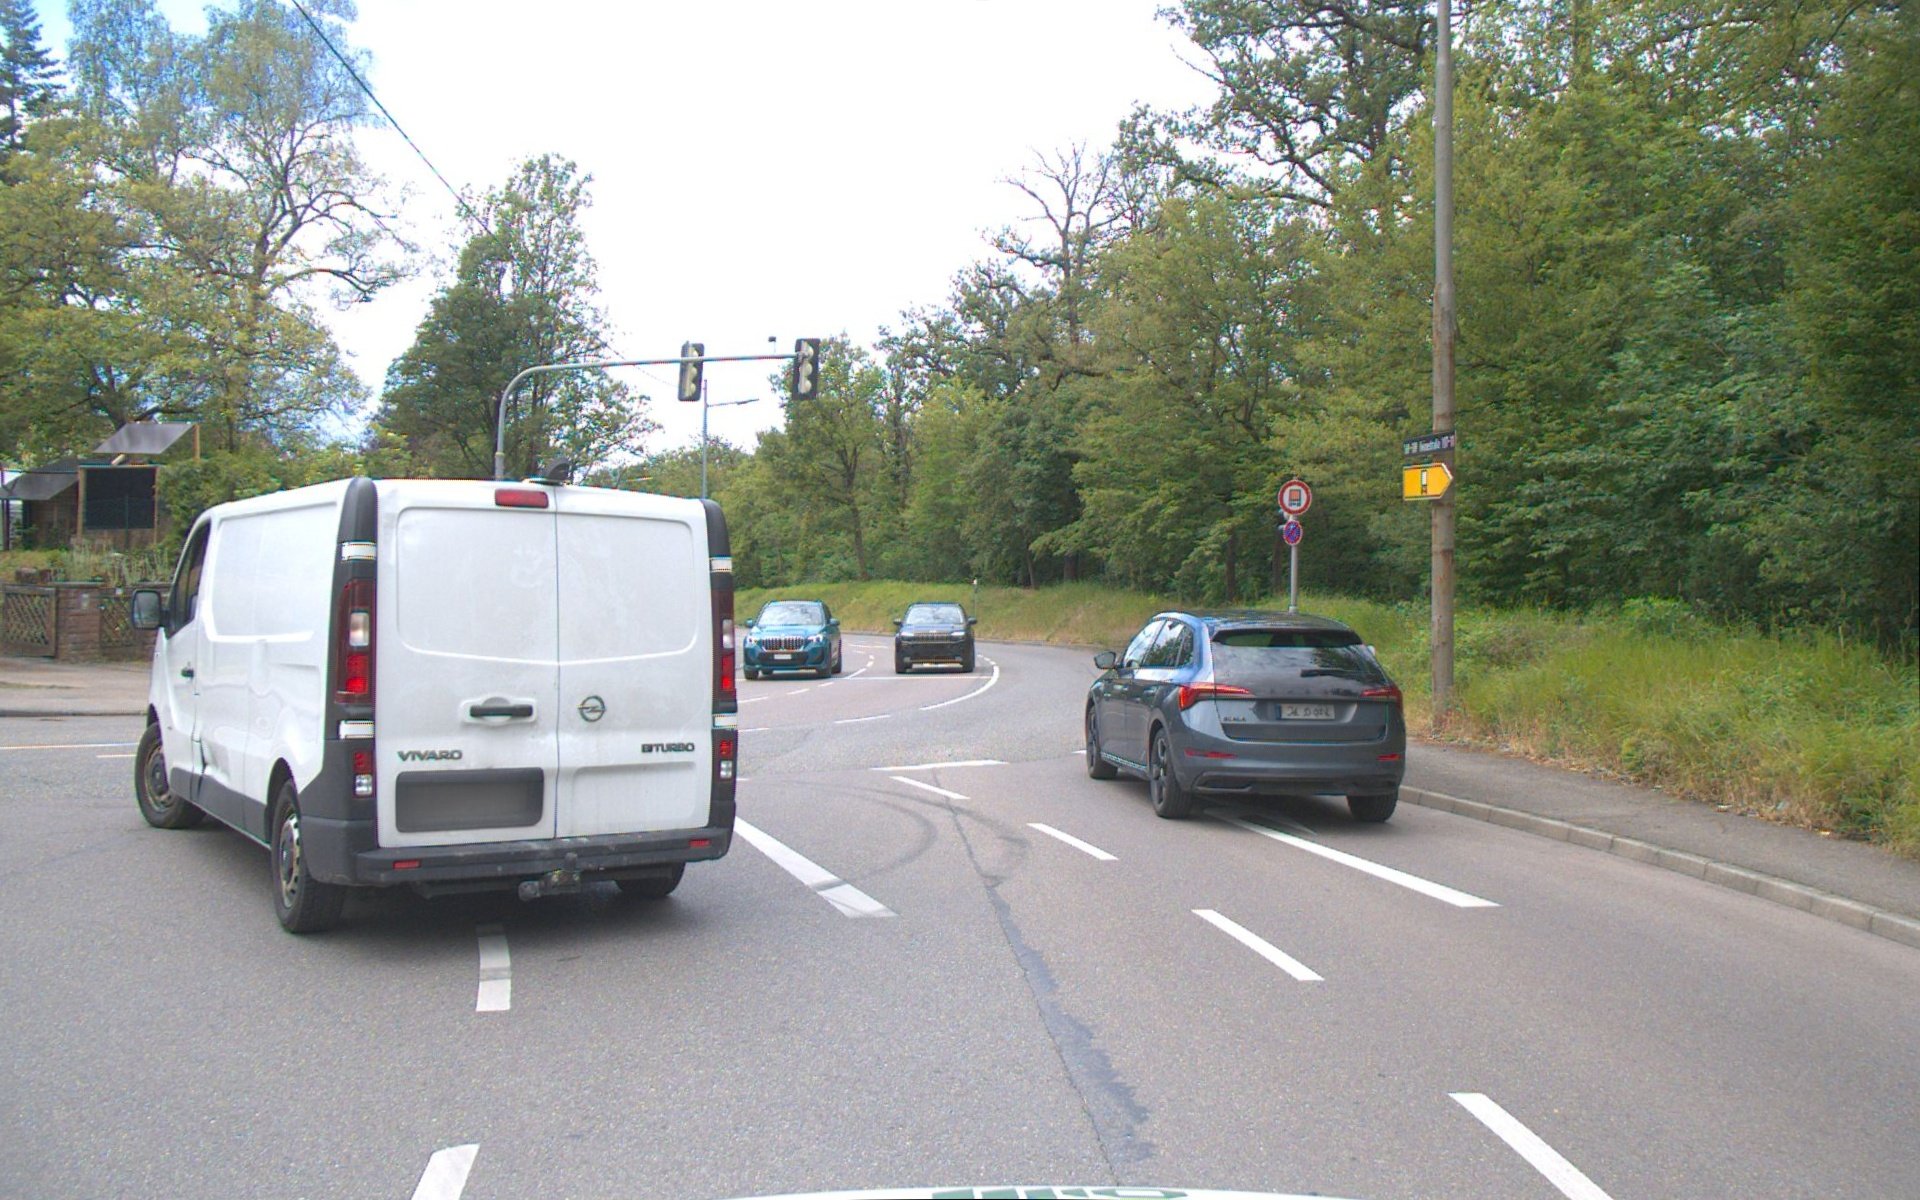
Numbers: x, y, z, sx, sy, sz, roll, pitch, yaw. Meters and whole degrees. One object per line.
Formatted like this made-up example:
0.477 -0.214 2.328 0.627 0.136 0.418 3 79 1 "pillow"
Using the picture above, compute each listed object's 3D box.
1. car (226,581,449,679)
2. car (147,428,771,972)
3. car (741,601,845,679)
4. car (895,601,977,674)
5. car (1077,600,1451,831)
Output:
-10.584 0.497 28.380 1.662 1.474 3.544 3 0 18 "car"
-2.913 0.358 8.788 1.900 2.089 4.559 1 0 -34 "car"
-3.542 0.826 35.754 1.819 1.533 4.000 -1 0 0 "car"
-0.595 0.825 38.209 1.779 1.533 3.998 -1 0 -2 "car"
2.153 0.766 12.855 1.758 1.476 3.994 1 0 -7 "car"
